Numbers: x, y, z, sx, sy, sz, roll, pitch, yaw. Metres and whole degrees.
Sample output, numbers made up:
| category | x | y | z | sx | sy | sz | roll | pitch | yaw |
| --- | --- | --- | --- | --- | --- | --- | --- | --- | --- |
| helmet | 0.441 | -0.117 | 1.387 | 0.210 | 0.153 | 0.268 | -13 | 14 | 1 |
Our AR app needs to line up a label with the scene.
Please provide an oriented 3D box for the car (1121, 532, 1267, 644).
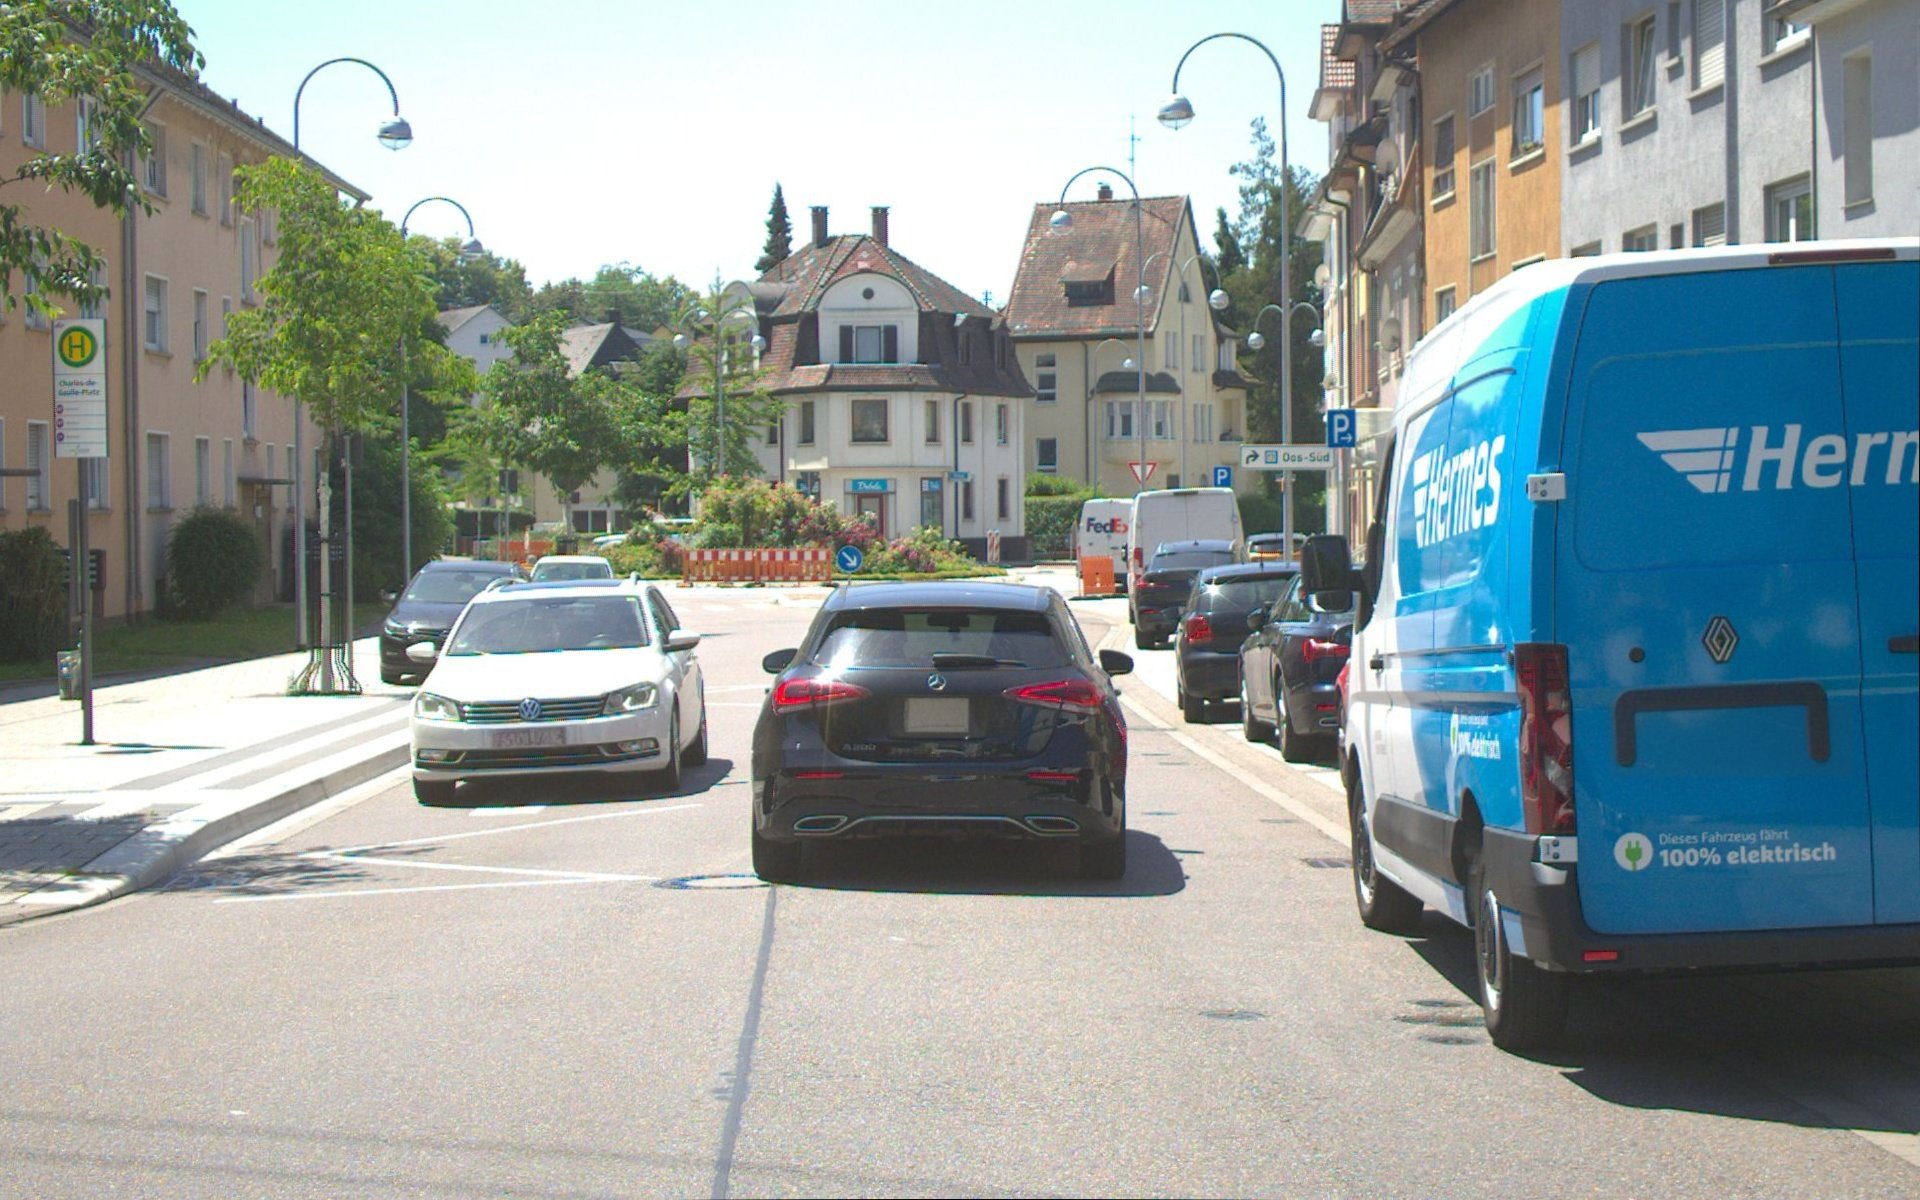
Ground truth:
| category | x | y | z | sx | sy | sz | roll | pitch | yaw |
| --- | --- | --- | --- | --- | --- | --- | --- | --- | --- |
| car | 3.680 | -0.217 | 53.434 | 1.896 | 1.602 | 4.363 | -2 | 1 | 8 |

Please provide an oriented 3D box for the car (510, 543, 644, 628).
| category | x | y | z | sx | sy | sz | roll | pitch | yaw |
| --- | --- | --- | --- | --- | --- | --- | --- | --- | --- |
| car | -6.618 | -0.255 | 59.742 | 1.993 | 1.415 | 4.089 | 0 | 0 | -2 |

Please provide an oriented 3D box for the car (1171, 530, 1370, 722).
| category | x | y | z | sx | sy | sz | roll | pitch | yaw |
| --- | --- | --- | --- | --- | --- | --- | --- | --- | --- |
| car | 2.951 | 0.201 | 33.355 | 1.728 | 1.627 | 4.000 | -3 | 2 | 4 |

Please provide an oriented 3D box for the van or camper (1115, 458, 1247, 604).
| category | x | y | z | sx | sy | sz | roll | pitch | yaw |
| --- | --- | --- | --- | --- | --- | --- | --- | --- | --- |
| van or camper | 4.117 | -1.319 | 64.992 | 2.165 | 2.580 | 5.766 | -1 | 1 | 1 |

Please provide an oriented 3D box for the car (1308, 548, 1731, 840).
| category | x | y | z | sx | sy | sz | roll | pitch | yaw |
| --- | --- | --- | --- | --- | --- | --- | --- | --- | --- |
| car | 3.287 | 0.485 | 20.969 | 1.803 | 1.525 | 4.151 | -2 | 1 | -1 |

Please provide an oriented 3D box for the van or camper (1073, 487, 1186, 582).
| category | x | y | z | sx | sy | sz | roll | pitch | yaw |
| --- | --- | --- | --- | --- | --- | --- | --- | --- | --- |
| van or camper | 4.806 | -1.858 | 96.893 | 2.207 | 2.601 | 3.997 | 1 | 2 | 18 |

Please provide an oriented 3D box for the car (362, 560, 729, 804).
| category | x | y | z | sx | sy | sz | roll | pitch | yaw |
| --- | --- | --- | --- | --- | --- | --- | --- | --- | --- |
| car | -2.843 | 0.511 | 24.514 | 1.993 | 1.501 | 4.288 | 0 | 2 | 1 |

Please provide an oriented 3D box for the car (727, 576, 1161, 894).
| category | x | y | z | sx | sy | sz | roll | pitch | yaw |
| --- | --- | --- | --- | --- | --- | --- | --- | --- | --- |
| car | -0.071 | 0.606 | 17.621 | 1.953 | 1.422 | 4.000 | 1 | 0 | 0 |

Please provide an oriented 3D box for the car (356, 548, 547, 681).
| category | x | y | z | sx | sy | sz | roll | pitch | yaw |
| --- | --- | --- | --- | --- | --- | --- | --- | --- | --- |
| car | -6.345 | 0.143 | 43.334 | 1.857 | 1.501 | 4.563 | 0 | 2 | -2 |

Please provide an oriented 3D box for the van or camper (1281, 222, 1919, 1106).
| category | x | y | z | sx | sy | sz | roll | pitch | yaw |
| --- | --- | --- | --- | --- | --- | --- | --- | --- | --- |
| van or camper | 2.578 | 0.137 | 12.825 | 2.108 | 2.459 | 6.177 | -2 | 1 | 0 |

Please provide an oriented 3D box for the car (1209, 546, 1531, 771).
| category | x | y | z | sx | sy | sz | roll | pitch | yaw |
| --- | --- | --- | --- | --- | --- | --- | --- | --- | --- |
| car | 3.109 | 0.384 | 27.002 | 1.803 | 1.470 | 4.721 | -4 | 1 | -1 |

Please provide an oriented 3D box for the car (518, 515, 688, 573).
| category | x | y | z | sx | sy | sz | roll | pitch | yaw |
| --- | --- | --- | --- | --- | --- | --- | --- | --- | --- |
| car | -12.120 | -1.903 | 116.606 | 5.400 | 1.810 | 2.001 | 1 | 1 | -17 |
